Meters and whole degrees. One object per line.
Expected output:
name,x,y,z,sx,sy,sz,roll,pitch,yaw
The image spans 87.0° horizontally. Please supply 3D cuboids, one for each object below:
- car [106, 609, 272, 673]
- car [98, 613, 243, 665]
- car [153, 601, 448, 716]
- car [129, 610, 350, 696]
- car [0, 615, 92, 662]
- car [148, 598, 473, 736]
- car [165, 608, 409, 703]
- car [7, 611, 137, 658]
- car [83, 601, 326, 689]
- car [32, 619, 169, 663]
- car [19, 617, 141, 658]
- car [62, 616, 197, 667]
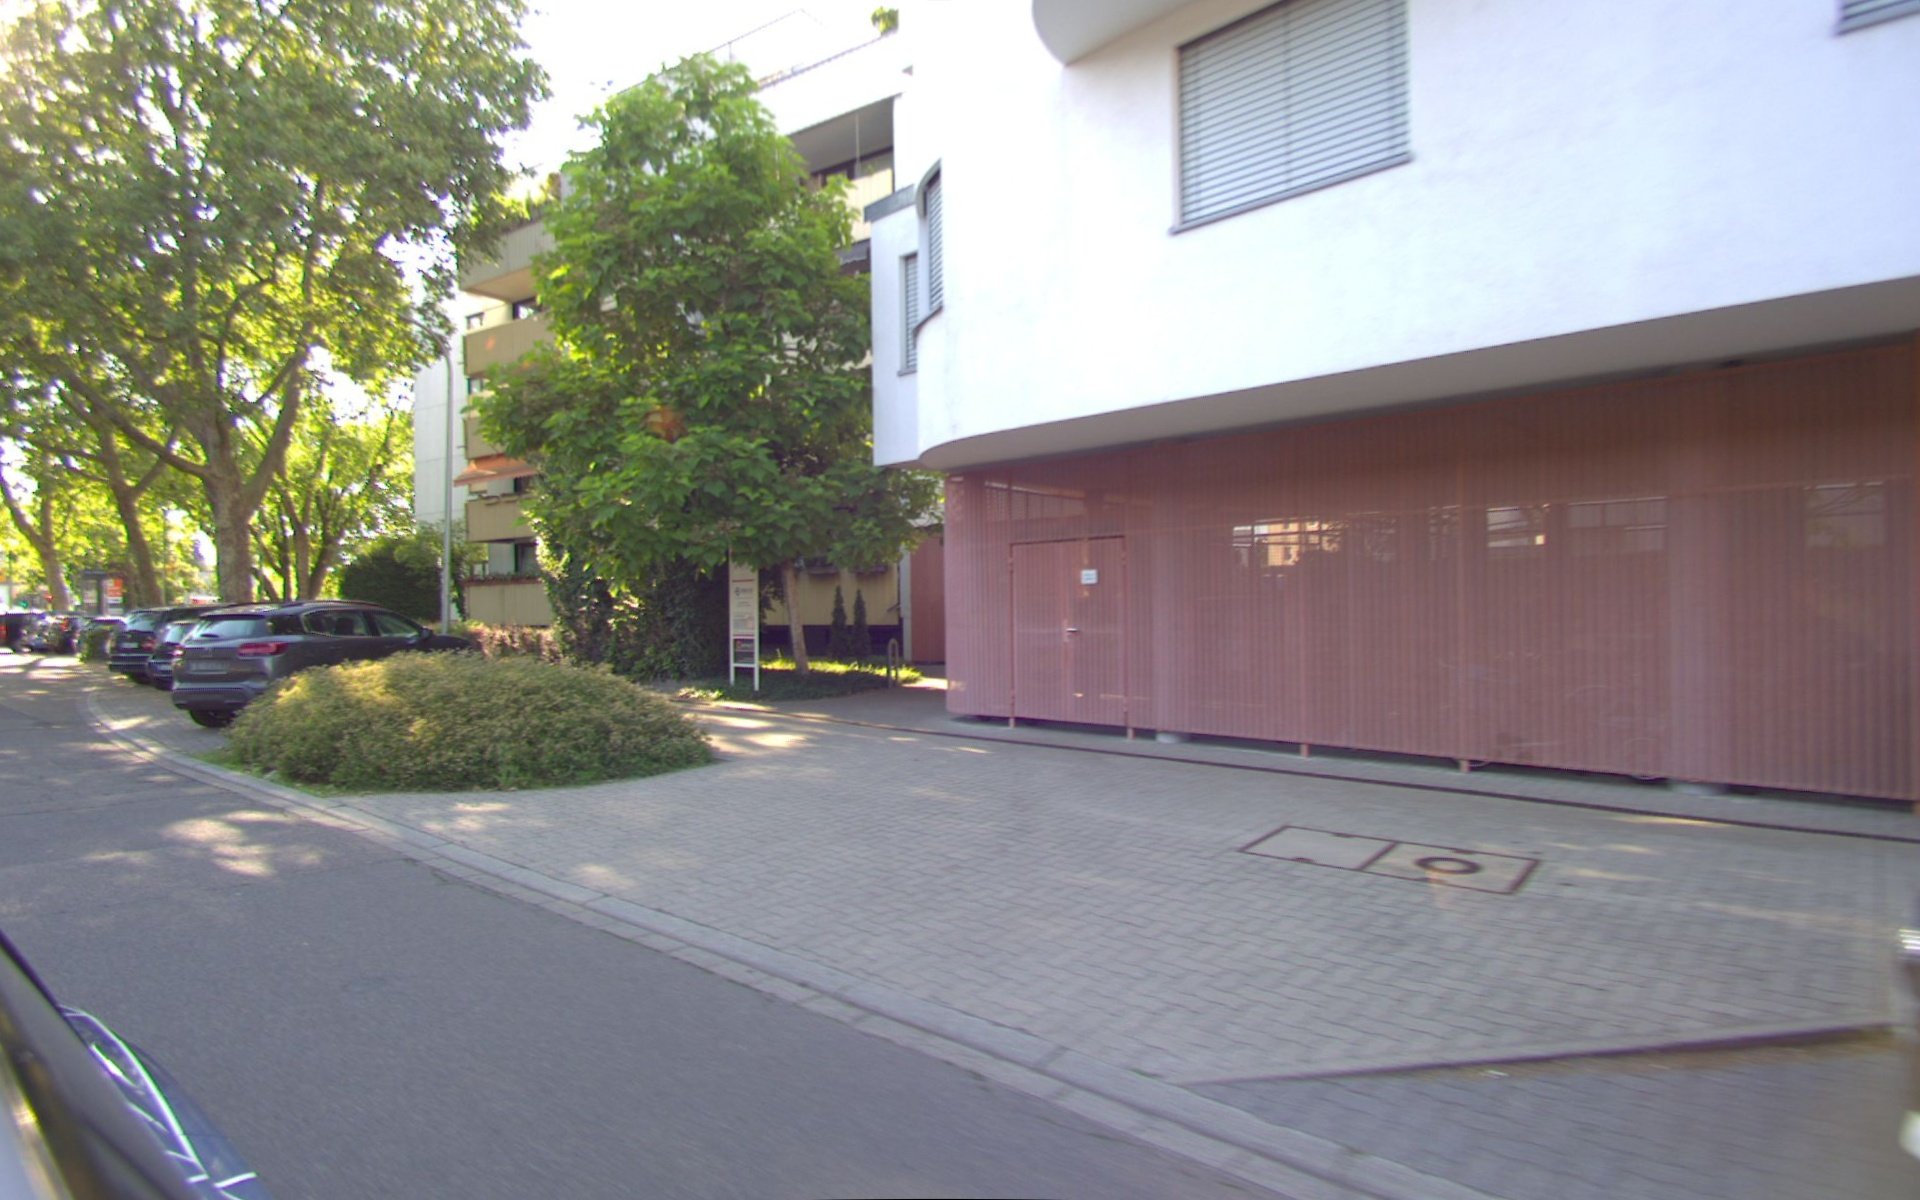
car,-22.957,1.181,30.276,1.639,1.674,3.622,-1,1,23
car,-26.880,1.285,34.598,1.693,1.572,3.634,-1,1,14
car,-11.190,0.906,17.547,1.762,1.652,4.117,-1,1,17
car,-15.380,1.075,21.832,1.685,1.572,3.632,-1,1,15
car,-42.215,1.729,45.953,1.701,1.900,3.982,-1,1,14
car,-9.249,0.855,14.835,1.683,1.674,3.944,-1,1,13
car,-13.065,1.008,19.863,1.693,1.572,3.614,-1,1,29
car,-39.547,1.487,45.167,1.823,1.896,3.967,-1,1,24
car,-17.489,0.971,23.713,1.890,1.788,4.245,-1,1,18
car,-35.493,1.665,41.917,1.788,1.637,3.965,-1,0,26
car,-37.471,1.566,43.205,1.639,1.572,3.573,-1,1,23
car,-30.775,1.498,37.624,1.634,1.674,3.633,-1,1,15
